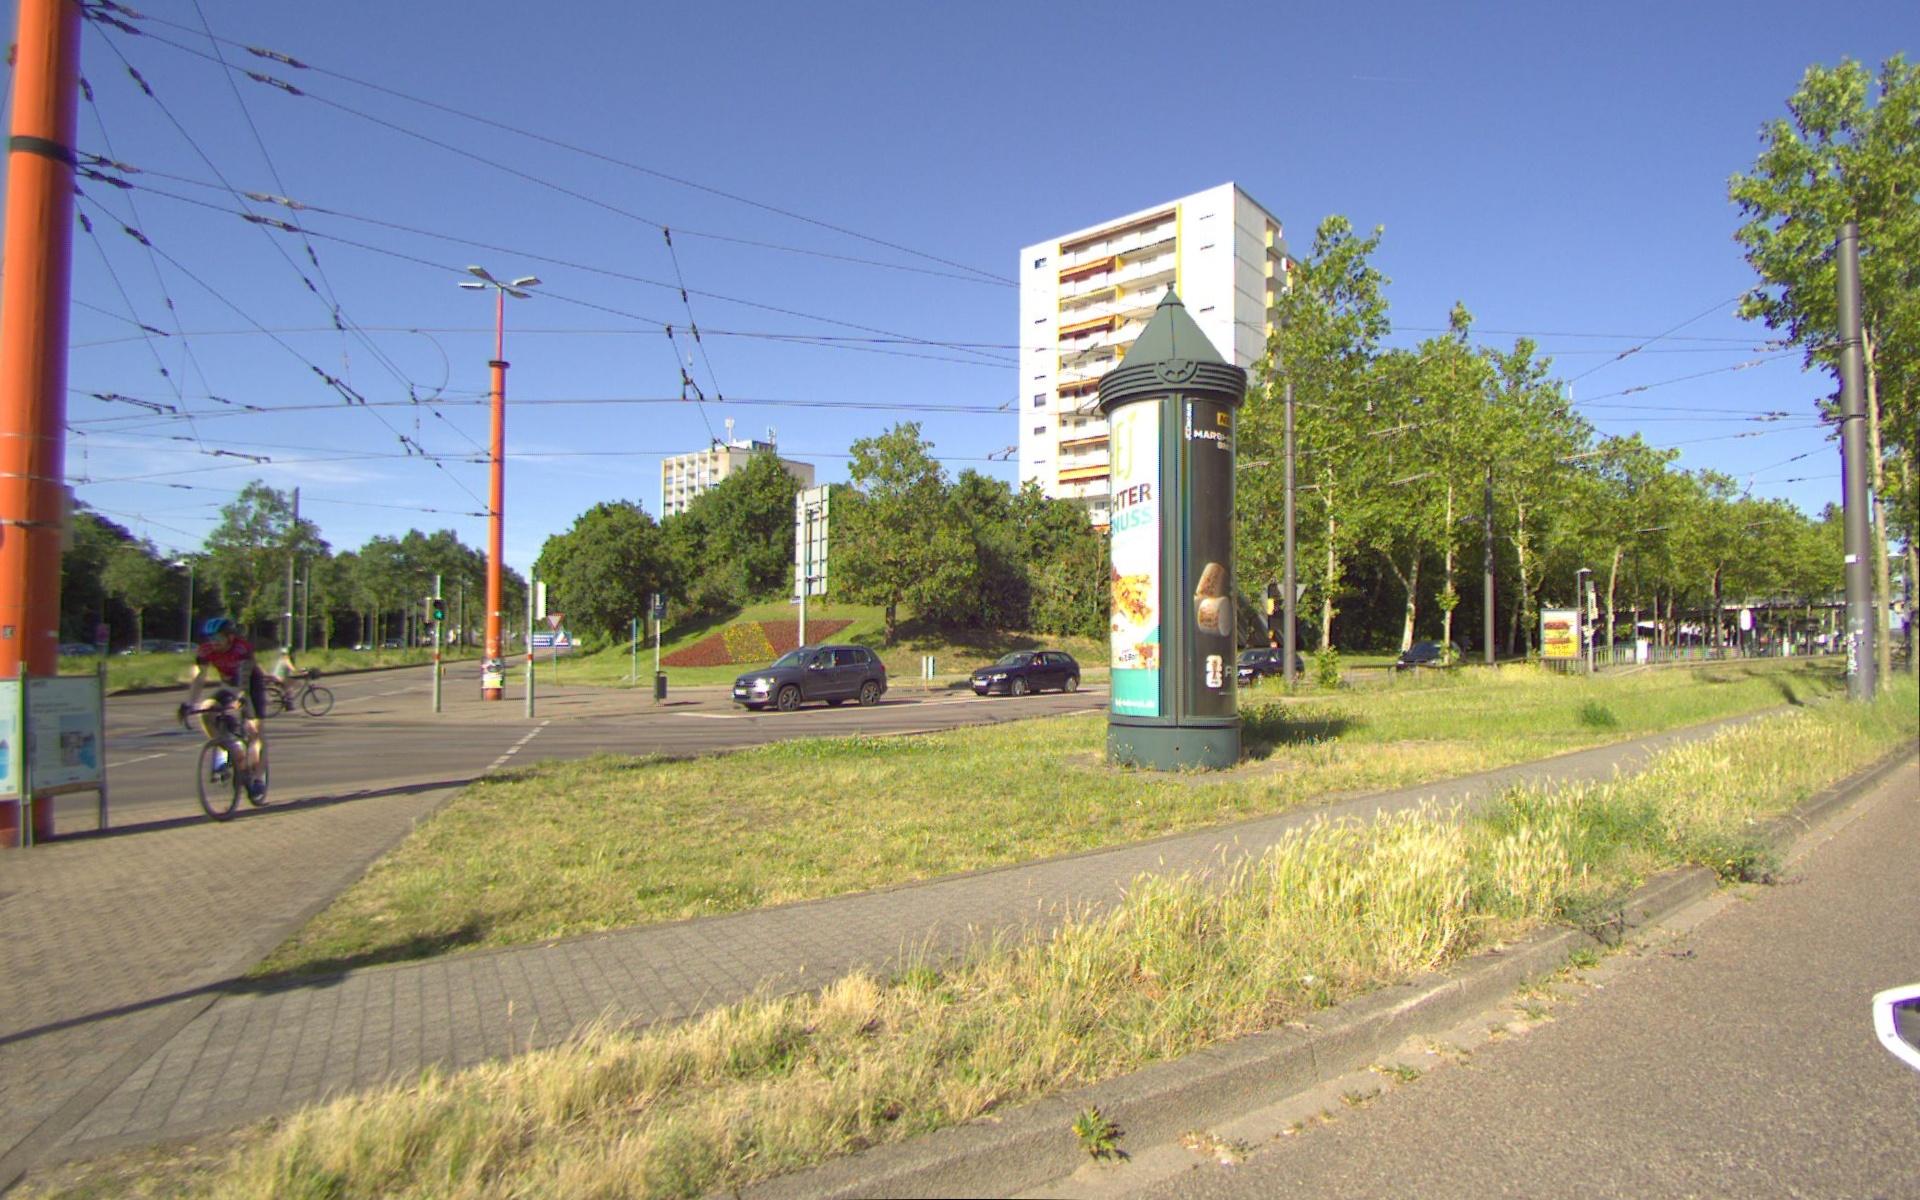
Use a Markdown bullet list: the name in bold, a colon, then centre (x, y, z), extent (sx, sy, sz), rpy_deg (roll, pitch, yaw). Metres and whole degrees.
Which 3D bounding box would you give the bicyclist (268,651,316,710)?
- **bicyclist**: centre (-16.234, 1.952, 24.423), extent (0.650, 1.398, 0.789), rpy_deg (-4, -3, 35)

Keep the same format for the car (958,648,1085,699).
- **car**: centre (2.037, 2.303, 32.233), extent (1.776, 1.530, 4.241), rpy_deg (-2, -3, 44)

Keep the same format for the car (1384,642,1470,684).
- **car**: centre (19.280, 2.557, 41.385), extent (4.205, 1.638, 1.777), rpy_deg (2, -3, -44)

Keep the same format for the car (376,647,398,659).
- **car**: centre (-79.142, 7.300, 138.812), extent (1.771, 1.530, 3.987), rpy_deg (0, -3, -17)

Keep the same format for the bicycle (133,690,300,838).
- **bicycle**: centre (-6.659, 1.414, 9.113), extent (0.692, 1.122, 1.893), rpy_deg (0, -3, -20)

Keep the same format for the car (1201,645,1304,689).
- **car**: centre (10.878, 2.426, 37.171), extent (4.238, 1.530, 1.777), rpy_deg (2, -3, -44)

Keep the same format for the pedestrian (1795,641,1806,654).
- **pedestrian**: centre (80.900, 4.535, 96.683), extent (0.717, 1.254, 0.770), rpy_deg (2, -3, -45)

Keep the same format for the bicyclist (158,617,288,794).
- **bicyclist**: centre (-6.670, 0.928, 9.143), extent (0.692, 1.496, 0.953), rpy_deg (0, -3, -20)

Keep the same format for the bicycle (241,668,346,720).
- **bicycle**: centre (-16.191, 2.272, 24.448), extent (0.650, 1.122, 2.038), rpy_deg (-4, -3, 35)

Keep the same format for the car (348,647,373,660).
- **car**: centre (-74.335, 6.652, 124.549), extent (1.771, 1.530, 3.987), rpy_deg (0, -3, -17)

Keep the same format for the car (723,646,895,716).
- **car**: centre (-3.892, 2.055, 26.394), extent (4.238, 1.700, 1.777), rpy_deg (2, -3, -44)

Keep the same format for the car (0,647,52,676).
- **car**: centre (-52.027, 3.365, 55.082), extent (1.771, 1.530, 3.987), rpy_deg (0, -3, -17)
